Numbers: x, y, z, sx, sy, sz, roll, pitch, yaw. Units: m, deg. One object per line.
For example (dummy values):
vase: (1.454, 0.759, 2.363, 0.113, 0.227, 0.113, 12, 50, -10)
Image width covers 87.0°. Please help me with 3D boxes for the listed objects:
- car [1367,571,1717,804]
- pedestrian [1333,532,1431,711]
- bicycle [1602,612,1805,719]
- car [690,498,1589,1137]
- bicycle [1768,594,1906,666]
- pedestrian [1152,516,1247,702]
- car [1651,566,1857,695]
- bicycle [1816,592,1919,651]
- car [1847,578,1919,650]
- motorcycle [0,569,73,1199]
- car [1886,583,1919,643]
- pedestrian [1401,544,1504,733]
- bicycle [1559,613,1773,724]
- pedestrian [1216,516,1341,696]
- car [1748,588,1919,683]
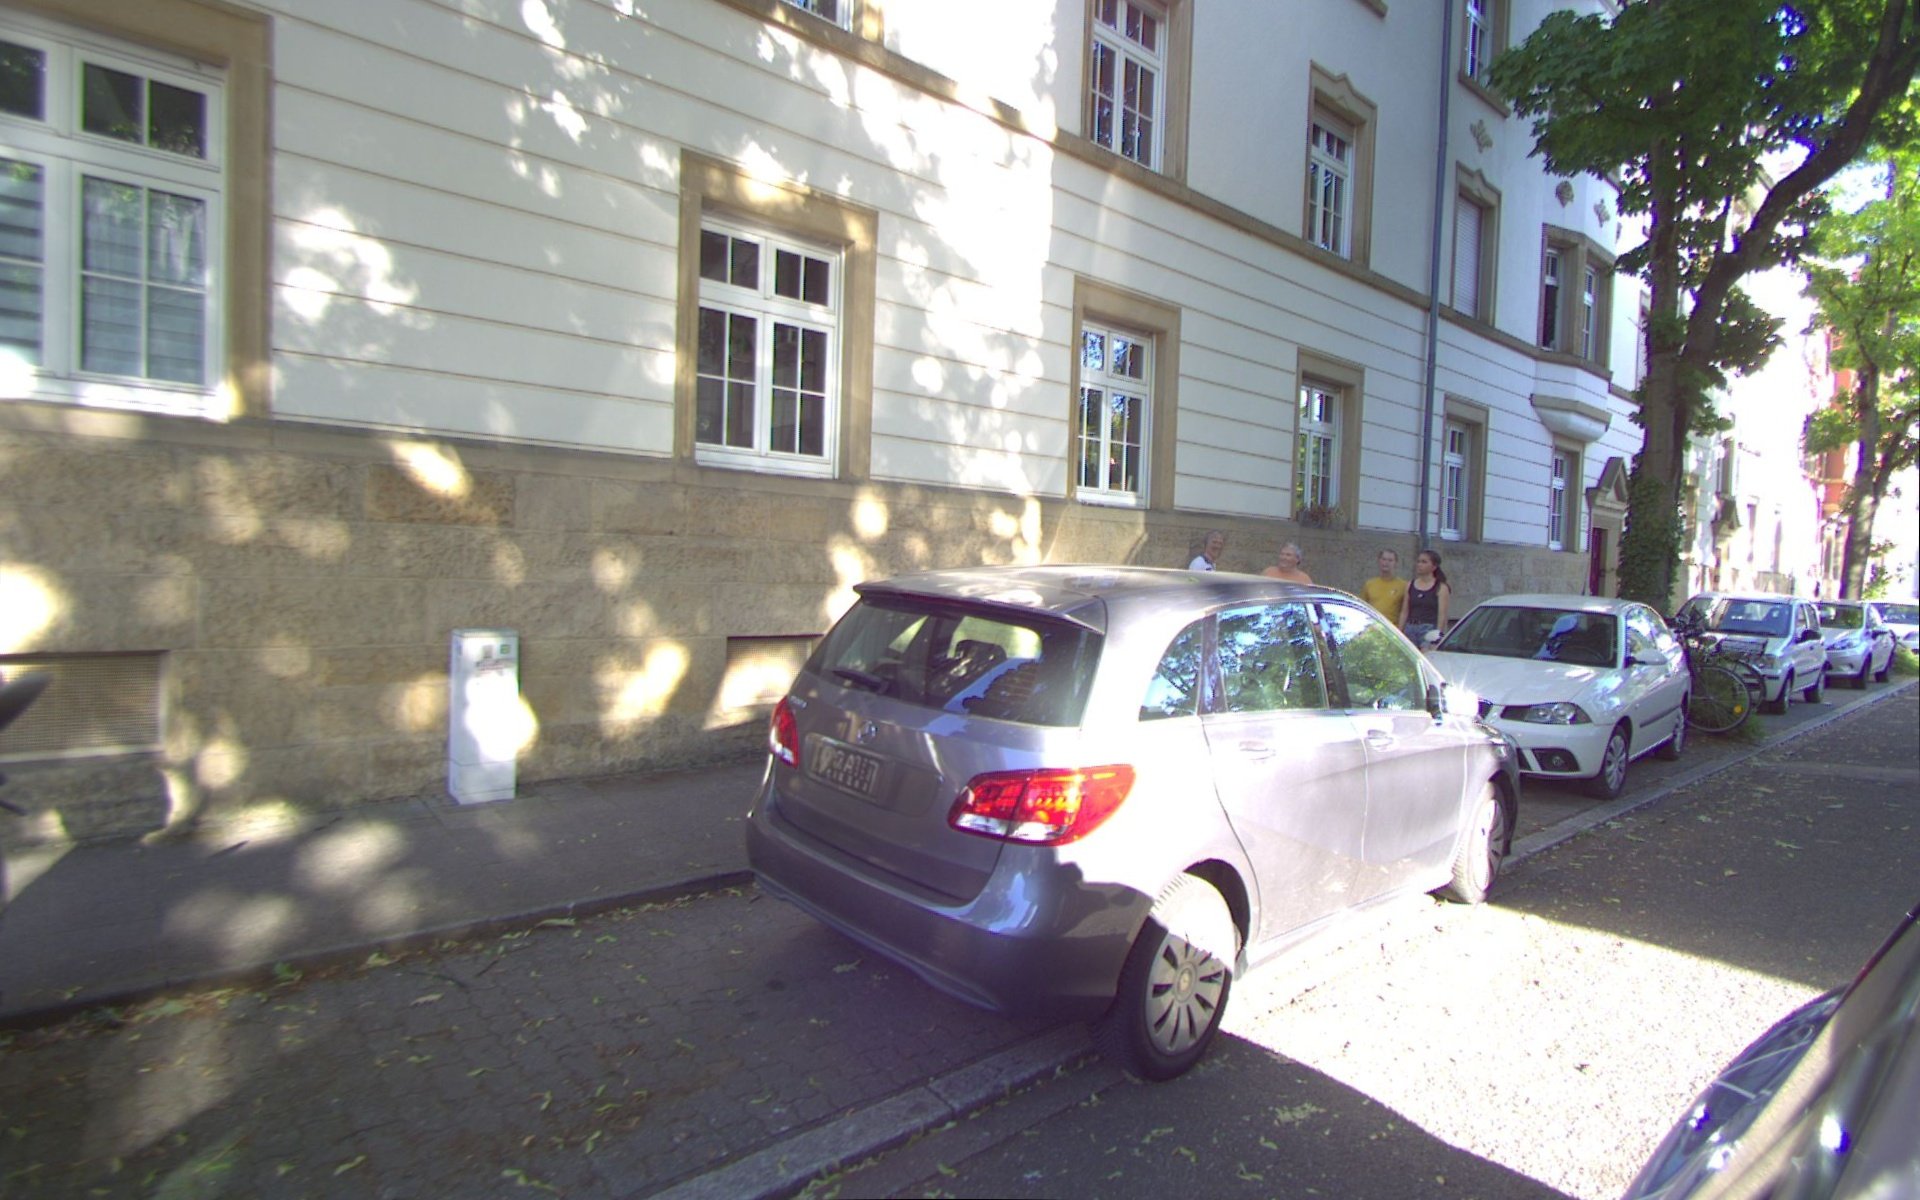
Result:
car: (5.081, 0.550, 8.612, 1.612, 1.496, 3.807, 4, 3, 45)
pedestrian: (4.241, 0.189, 10.171, 0.676, 1.722, 0.597, 0, 3, -39)
bicycle: (8.501, 0.707, 11.638, 0.595, 1.052, 1.773, 0, 2, -40)
car: (1.195, 0.554, 4.638, 4.335, 1.570, 1.791, 2, 1, -44)
bicycle: (17.901, 0.580, 20.705, 0.746, 1.244, 1.975, 0, 5, -39)
pedestrian: (2.331, 0.072, 9.838, 0.744, 1.726, 0.490, 0, 4, -42)
car: (11.037, 0.338, 14.003, 3.481, 1.529, 1.524, 0, 3, -40)
bicycle: (19.354, 0.447, 21.236, 0.589, 1.085, 1.975, 0, 5, -39)
car: (22.064, 0.292, 23.532, 3.682, 1.506, 1.600, 0, 4, -41)
motorcycle: (-2.339, 0.603, 2.188, 0.608, 1.281, 1.506, 0, 3, -41)
car: (26.695, 0.339, 27.521, 4.383, 1.532, 1.790, 0, 2, -42)
pedestrian: (4.835, 0.350, 9.929, 0.862, 1.756, 0.521, 0, 3, -39)
bicycle: (7.554, 0.686, 10.899, 0.720, 0.961, 1.720, 0, 4, -40)
pedestrian: (3.209, 0.032, 10.198, 0.859, 1.714, 0.780, 0, 4, -39)
car: (15.442, 0.534, 17.821, 4.084, 1.411, 1.626, 0, 3, -41)
